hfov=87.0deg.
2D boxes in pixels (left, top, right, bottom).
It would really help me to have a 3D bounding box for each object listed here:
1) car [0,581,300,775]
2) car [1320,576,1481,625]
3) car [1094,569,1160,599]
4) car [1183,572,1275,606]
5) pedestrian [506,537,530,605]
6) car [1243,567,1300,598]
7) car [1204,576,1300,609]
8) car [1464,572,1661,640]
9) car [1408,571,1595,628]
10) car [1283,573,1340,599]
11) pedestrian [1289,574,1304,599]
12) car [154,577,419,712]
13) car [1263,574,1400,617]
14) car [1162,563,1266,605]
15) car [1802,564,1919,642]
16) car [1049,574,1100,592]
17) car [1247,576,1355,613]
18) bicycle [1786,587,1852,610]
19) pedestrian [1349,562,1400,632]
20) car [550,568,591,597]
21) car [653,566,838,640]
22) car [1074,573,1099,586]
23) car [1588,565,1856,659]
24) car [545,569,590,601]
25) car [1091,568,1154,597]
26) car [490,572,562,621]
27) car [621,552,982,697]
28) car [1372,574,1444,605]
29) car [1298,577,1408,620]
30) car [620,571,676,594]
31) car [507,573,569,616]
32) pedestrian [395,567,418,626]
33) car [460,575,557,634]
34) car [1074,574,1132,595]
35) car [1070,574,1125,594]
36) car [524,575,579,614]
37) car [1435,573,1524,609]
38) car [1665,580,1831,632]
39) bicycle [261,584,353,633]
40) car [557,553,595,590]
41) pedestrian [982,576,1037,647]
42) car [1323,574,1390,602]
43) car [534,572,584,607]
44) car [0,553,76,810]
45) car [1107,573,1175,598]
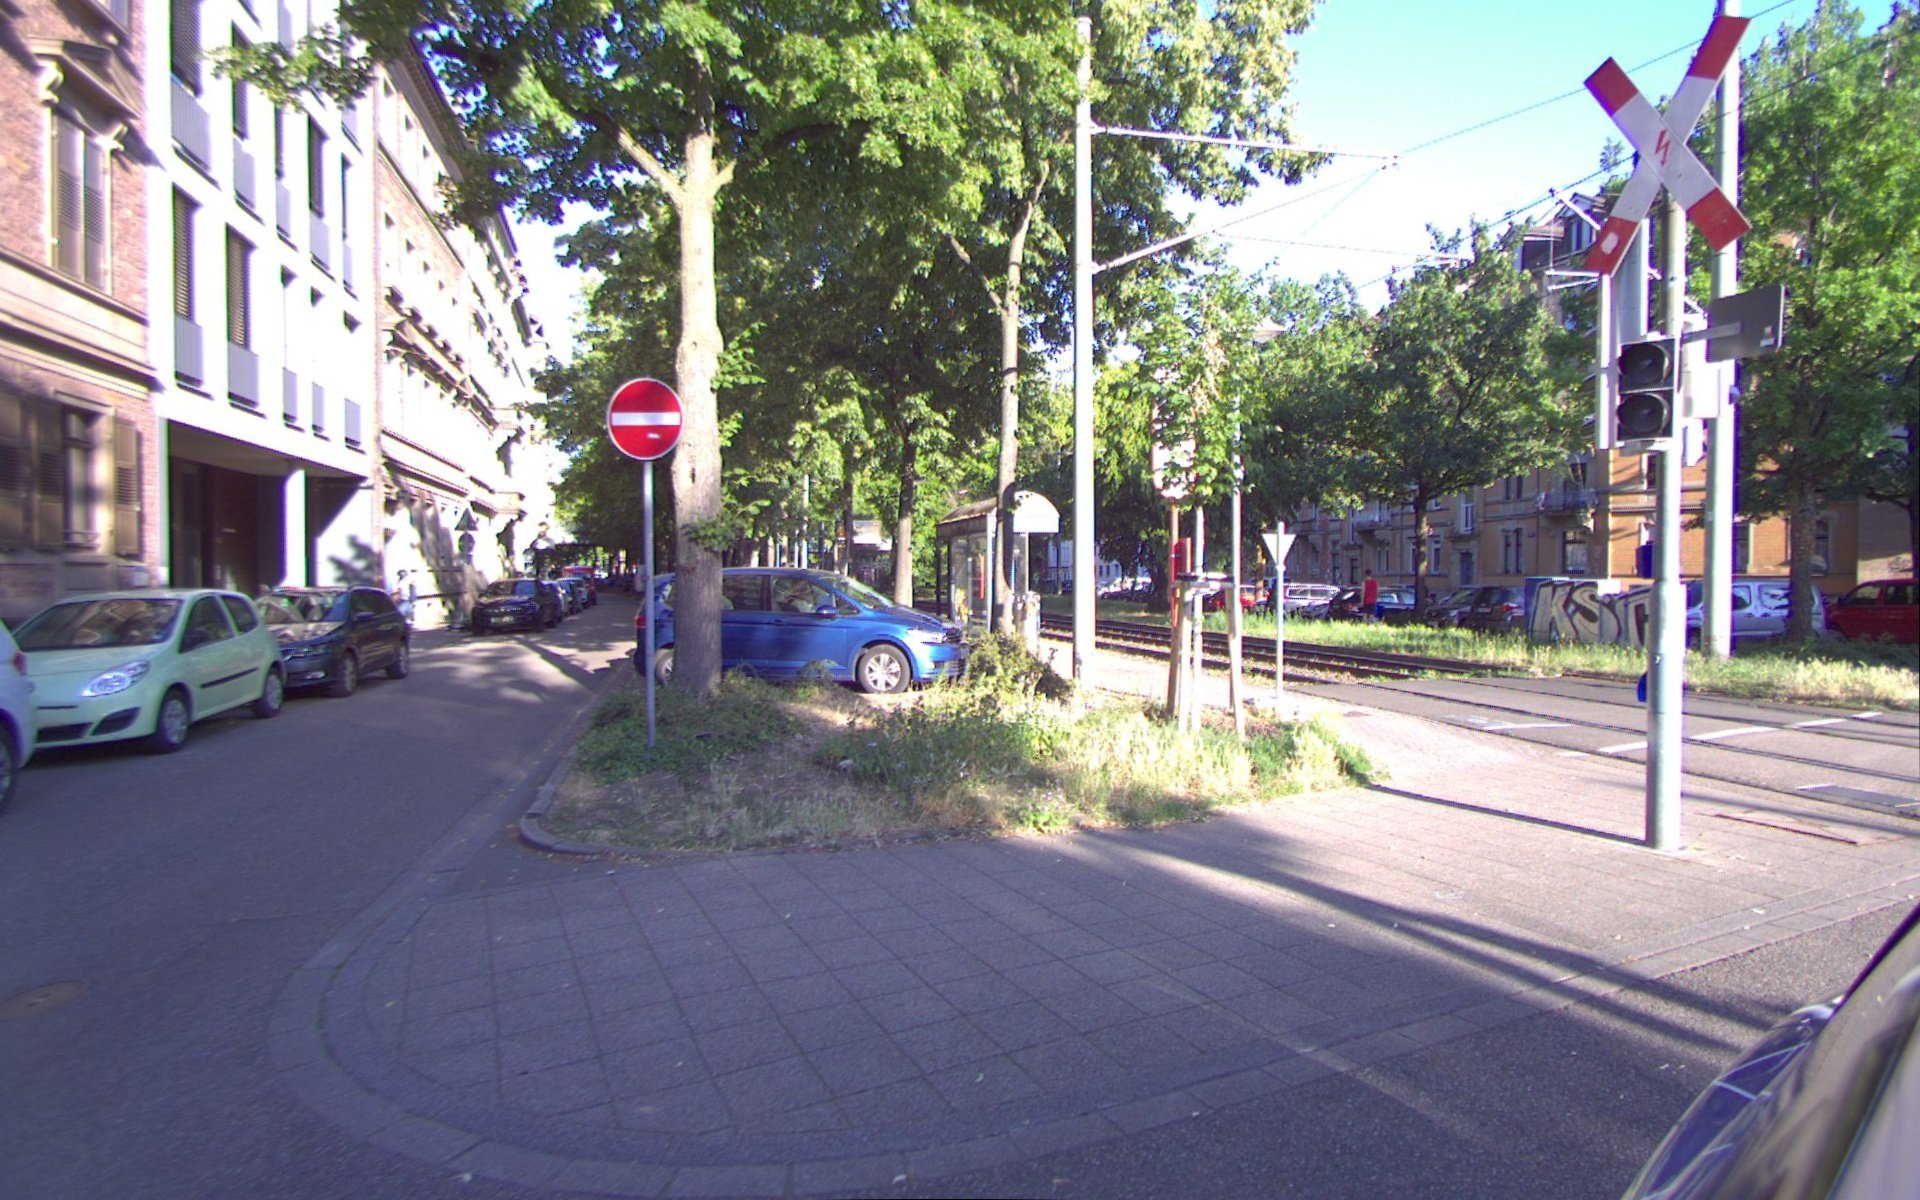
[{"bbox_3d":[-8.218,0.614,10.026,1.706,1.508,3.733,-3,2,-16],"label":"car"},{"bbox_3d":[15.037,-0.012,34.700,4.622,1.591,2.002,0,2,-4],"label":"car"},{"bbox_3d":[10.990,-1.065,66.804,3.919,1.855,1.686,1,1,-6],"label":"car"},{"bbox_3d":[13.209,-0.542,49.803,3.918,1.599,1.769,1,1,-8],"label":"car"},{"bbox_3d":[-19.572,-1.283,44.808,0.901,2.984,0.702,0,1,-18],"label":"pedestrian"},{"bbox_3d":[20.768,-1.211,67.659,1.875,1.906,4.732,-2,2,-7],"label":"car"},{"bbox_3d":[13.690,-0.364,47.535,3.919,1.441,1.686,1,1,-6],"label":"car"},{"bbox_3d":[16.221,0.115,27.331,4.357,1.712,1.954,0,2,-12],"label":"car"},{"bbox_3d":[15.974,-0.048,30.000,4.463,1.591,1.952,0,2,-4],"label":"car"},{"bbox_3d":[21.532,-0.873,62.071,1.733,1.456,3.894,-2,2,-7],"label":"car"},{"bbox_3d":[23.633,-0.973,71.089,0.662,1.739,0.723,-2,1,-5],"label":"pedestrian"},{"bbox_3d":[-9.190,0.482,14.244,1.706,1.508,4.174,-3,2,-13],"label":"car"},{"bbox_3d":[14.575,-0.188,39.900,4.622,1.591,2.002,0,2,-4],"label":"car"},{"bbox_3d":[13.115,-0.841,52.429,4.762,2.063,2.158,1,1,-6],"label":"car"},{"bbox_3d":[25.492,0.052,27.016,1.747,1.957,4.777,-2,2,-4],"label":"car"},{"bbox_3d":[9.556,-1.424,84.562,3.919,1.507,1.686,1,1,-6],"label":"car"},{"bbox_3d":[14.291,-0.239,42.511,3.919,1.479,1.686,1,1,-6],"label":"car"},{"bbox_3d":[33.193,-0.060,39.111,0.516,0.858,1.896,0,1,-41],"label":"bicycle"},{"bbox_3d":[11.754,-0.105,28.727,0.887,1.942,1.151,0,1,-6],"label":"pedestrian"},{"bbox_3d":[-22.427,-1.053,58.371,1.958,1.587,4.623,0,1,-18],"label":"car"},{"bbox_3d":[-5.608,0.021,26.403,4.504,1.743,1.913,1,1,25],"label":"car"},{"bbox_3d":[14.740,-2.390,118.057,1.844,1.459,4.399,-2,2,-7],"label":"car"},{"bbox_3d":[16.656,0.218,22.279,4.463,1.938,1.952,0,2,-4],"label":"car"},{"bbox_3d":[-20.768,-0.833,53.670,1.958,1.587,4.623,0,1,-18],"label":"car"},{"bbox_3d":[11.053,-1.188,68.919,3.919,1.855,1.686,1,1,-6],"label":"car"},{"bbox_3d":[-15.037,-0.157,35.243,1.958,1.587,4.252,0,1,-19],"label":"car"},{"bbox_3d":[-2.011,0.295,13.290,4.352,1.708,1.736,-1,1,13],"label":"car"},{"bbox_3d":[22.855,-0.564,51.770,1.655,1.493,3.714,-2,2,-6],"label":"car"},{"bbox_3d":[14.413,-0.069,37.201,3.342,1.533,1.720,0,1,-4],"label":"car"},{"bbox_3d":[-25.079,-1.400,81.479,3.925,1.788,1.748,1,1,1],"label":"car"},{"bbox_3d":[-16.529,-0.250,39.845,1.958,1.587,4.252,0,1,-19],"label":"car"},{"bbox_3d":[-16.065,-0.112,29.378,0.519,1.695,0.428,0,1,-21],"label":"pedestrian"},{"bbox_3d":[-13.345,0.067,30.179,1.958,1.587,4.604,0,1,-15],"label":"car"},{"bbox_3d":[10.561,-1.174,74.686,3.919,1.507,1.686,1,1,-6],"label":"car"},{"bbox_3d":[10.547,-1.226,77.749,3.919,1.507,1.686,1,1,-6],"label":"car"},{"bbox_3d":[-17.727,-0.260,44.086,1.958,1.587,4.252,0,1,-19],"label":"car"},{"bbox_3d":[23.582,-0.430,46.093,1.655,1.493,3.888,-2,2,-8],"label":"car"},{"bbox_3d":[25.003,0.140,32.331,1.747,1.451,4.275,-2,2,-4],"label":"car"},{"bbox_3d":[-16.446,0.188,25.546,0.672,1.130,2.089,0,2,12],"label":"bicycle"},{"bbox_3d":[-23.993,-1.790,63.361,1.958,2.199,4.623,0,1,-18],"label":"car"},{"bbox_3d":[0.921,0.205,19.060,0.807,1.288,0.879,0,1,-14],"label":"pedestrian"},{"bbox_3d":[22.289,-0.703,57.059,1.734,1.400,4.295,-2,2,-5],"label":"car"},{"bbox_3d":[-19.112,-0.523,48.360,1.958,1.587,4.428,0,1,-19],"label":"car"},{"bbox_3d":[-6.808,0.616,4.931,1.836,1.669,4.508,-3,2,-14],"label":"car"},{"bbox_3d":[11.520,-0.927,64.648,3.919,1.507,1.686,1,1,-6],"label":"car"}]
